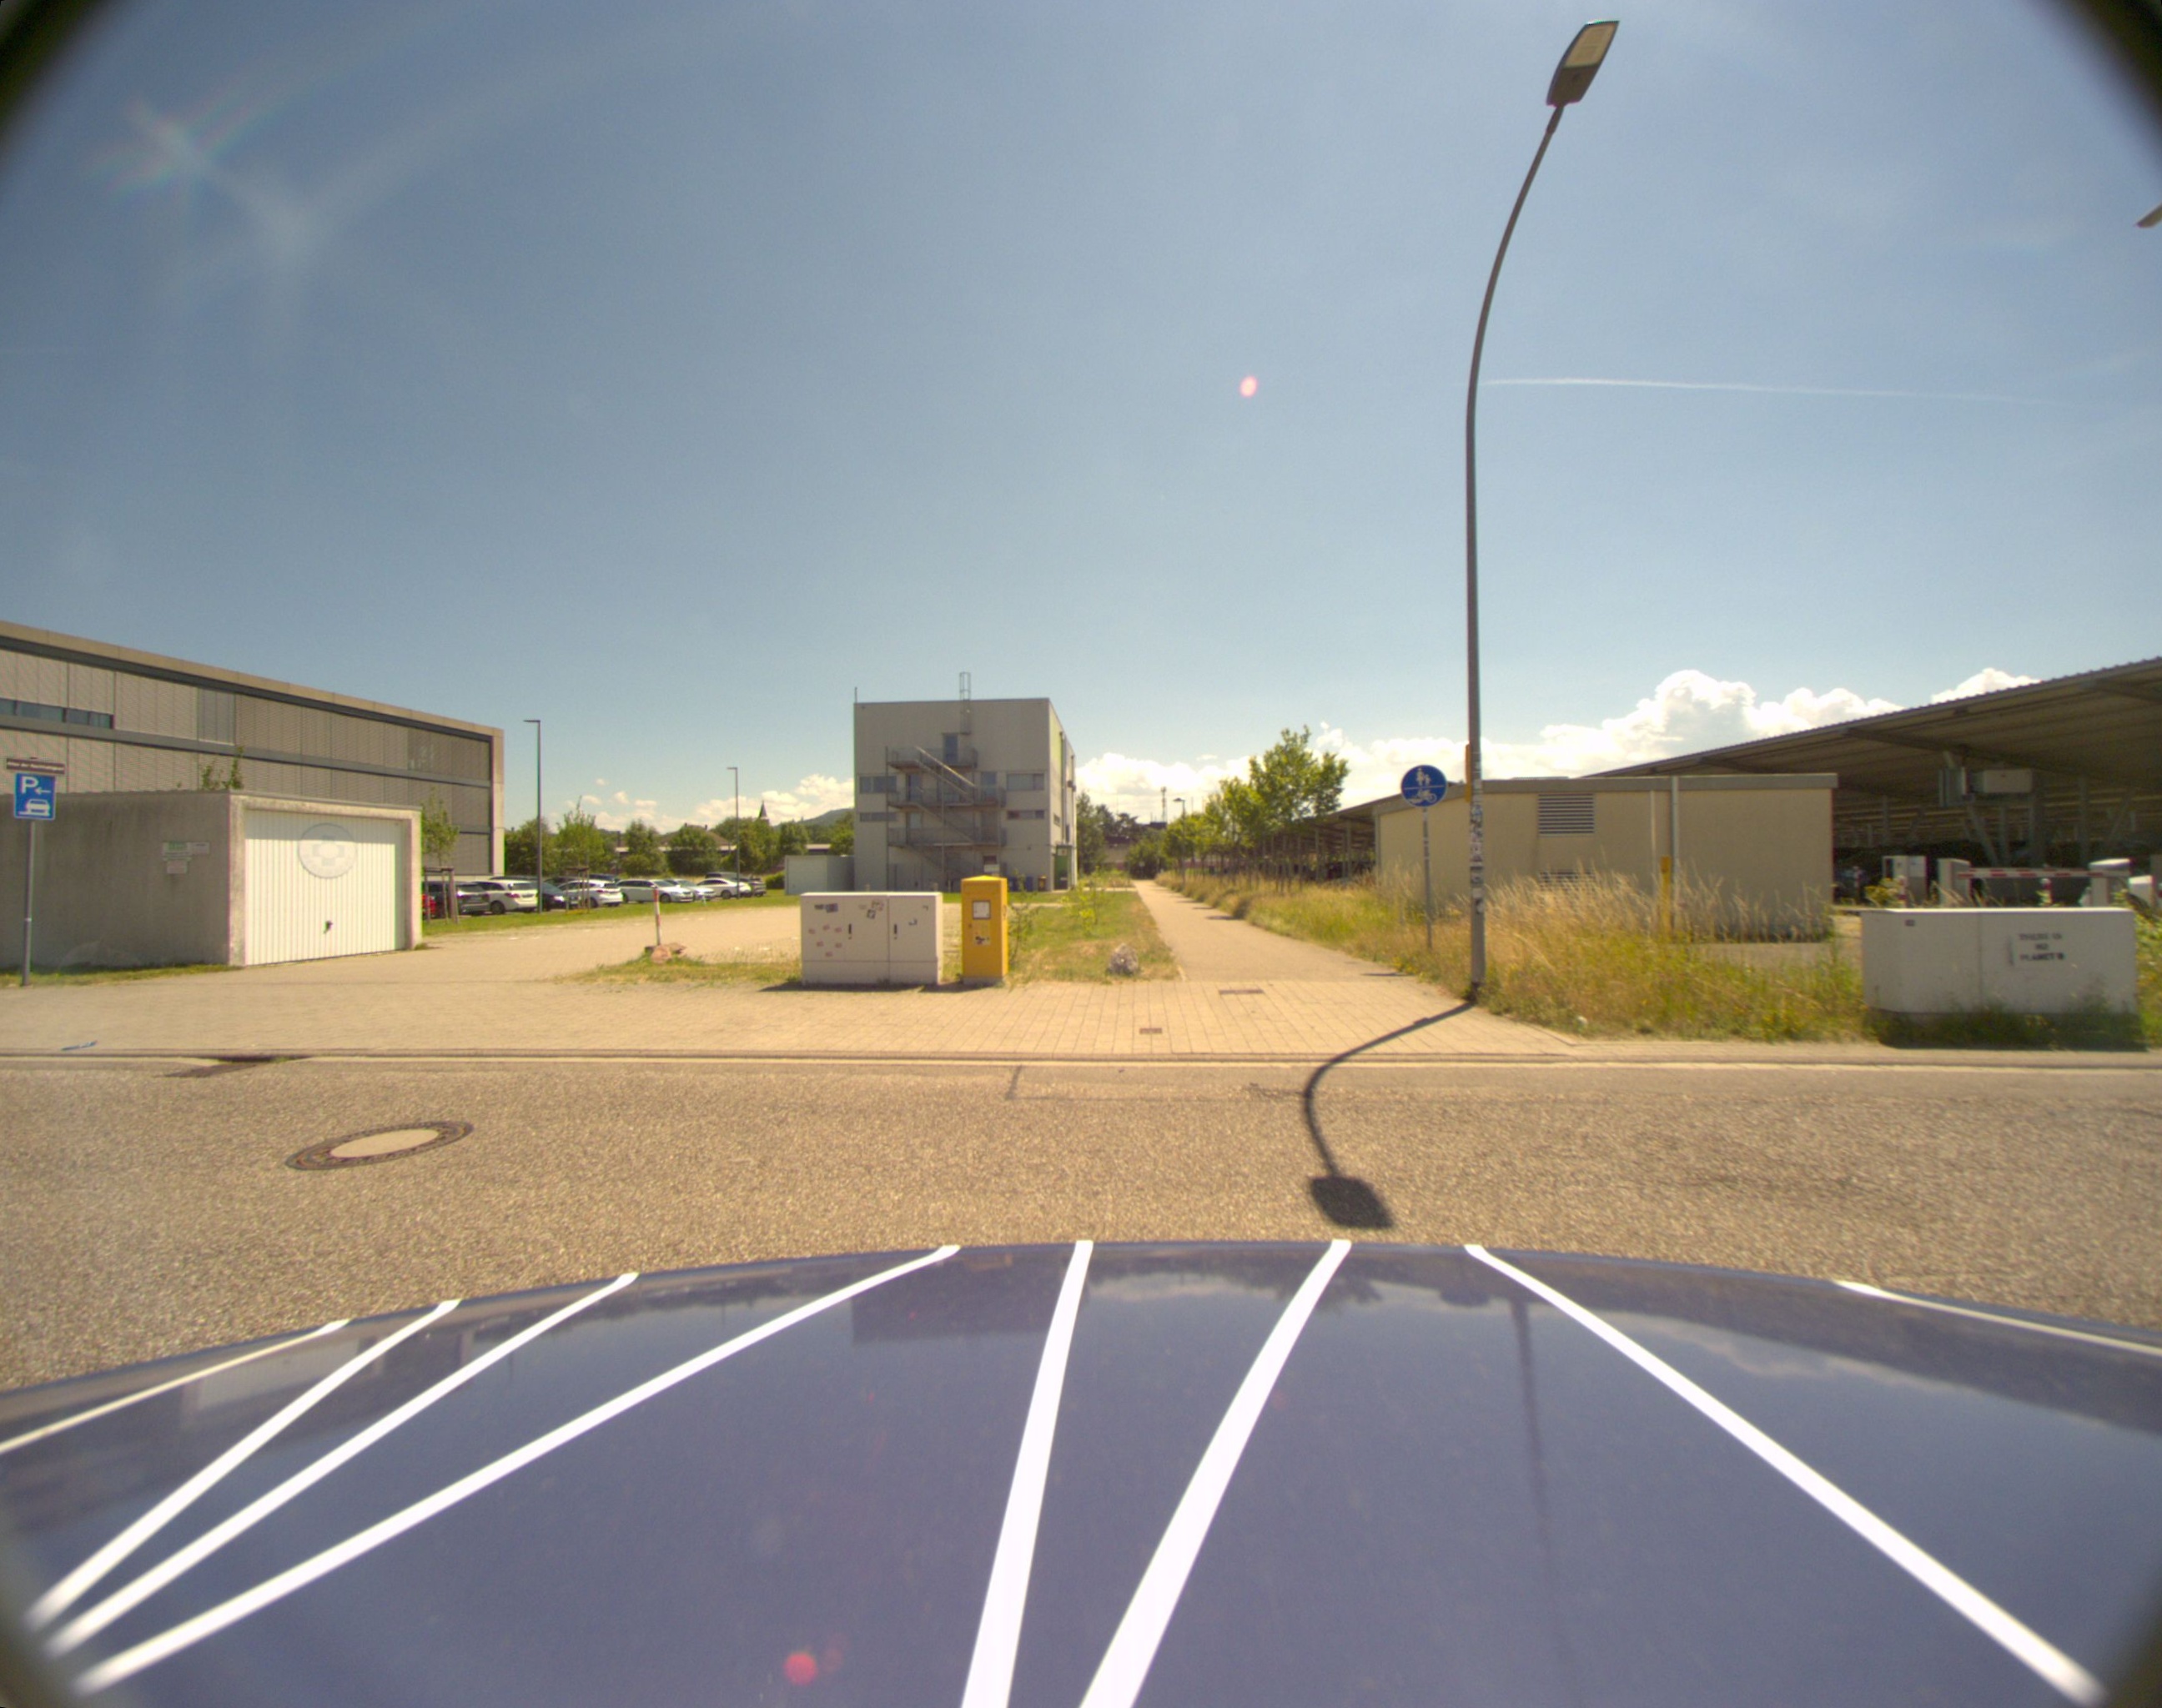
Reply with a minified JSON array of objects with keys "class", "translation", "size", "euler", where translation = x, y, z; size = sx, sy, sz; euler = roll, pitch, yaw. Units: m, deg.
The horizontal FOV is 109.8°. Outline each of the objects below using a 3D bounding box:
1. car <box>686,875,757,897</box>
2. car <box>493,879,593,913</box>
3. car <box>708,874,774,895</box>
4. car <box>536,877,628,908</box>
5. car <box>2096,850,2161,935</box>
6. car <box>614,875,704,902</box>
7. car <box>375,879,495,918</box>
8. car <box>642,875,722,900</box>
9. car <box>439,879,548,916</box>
[{"class":"car","translation":[-24.504,2.184,51.840],"size":[4.052,1.416,1.659],"euler":[-1,0,5]},{"class":"car","translation":[-25.529,1.985,36.092],"size":[3.624,1.526,1.659],"euler":[-1,0,5]},{"class":"car","translation":[-24.710,2.217,55.317],"size":[4.052,1.379,1.659],"euler":[-1,0,5]},{"class":"car","translation":[-25.505,1.945,38.889],"size":[3.624,1.492,1.659],"euler":[-1,0,5]},{"class":"car","translation":[18.841,0.620,11.593],"size":[1.722,1.427,3.777],"euler":[0,-1,2]},{"class":"car","translation":[-24.675,2.027,44.478],"size":[4.366,1.458,1.710],"euler":[-1,0,5]},{"class":"car","translation":[-26.357,1.809,31.065],"size":[3.624,1.492,1.659],"euler":[-1,0,5]},{"class":"car","translation":[-24.581,2.063,46.855],"size":[4.052,1.458,1.659],"euler":[-1,0,5]},{"class":"car","translation":[-26.048,1.912,33.734],"size":[3.624,1.492,1.659],"euler":[-1,0,5]}]
